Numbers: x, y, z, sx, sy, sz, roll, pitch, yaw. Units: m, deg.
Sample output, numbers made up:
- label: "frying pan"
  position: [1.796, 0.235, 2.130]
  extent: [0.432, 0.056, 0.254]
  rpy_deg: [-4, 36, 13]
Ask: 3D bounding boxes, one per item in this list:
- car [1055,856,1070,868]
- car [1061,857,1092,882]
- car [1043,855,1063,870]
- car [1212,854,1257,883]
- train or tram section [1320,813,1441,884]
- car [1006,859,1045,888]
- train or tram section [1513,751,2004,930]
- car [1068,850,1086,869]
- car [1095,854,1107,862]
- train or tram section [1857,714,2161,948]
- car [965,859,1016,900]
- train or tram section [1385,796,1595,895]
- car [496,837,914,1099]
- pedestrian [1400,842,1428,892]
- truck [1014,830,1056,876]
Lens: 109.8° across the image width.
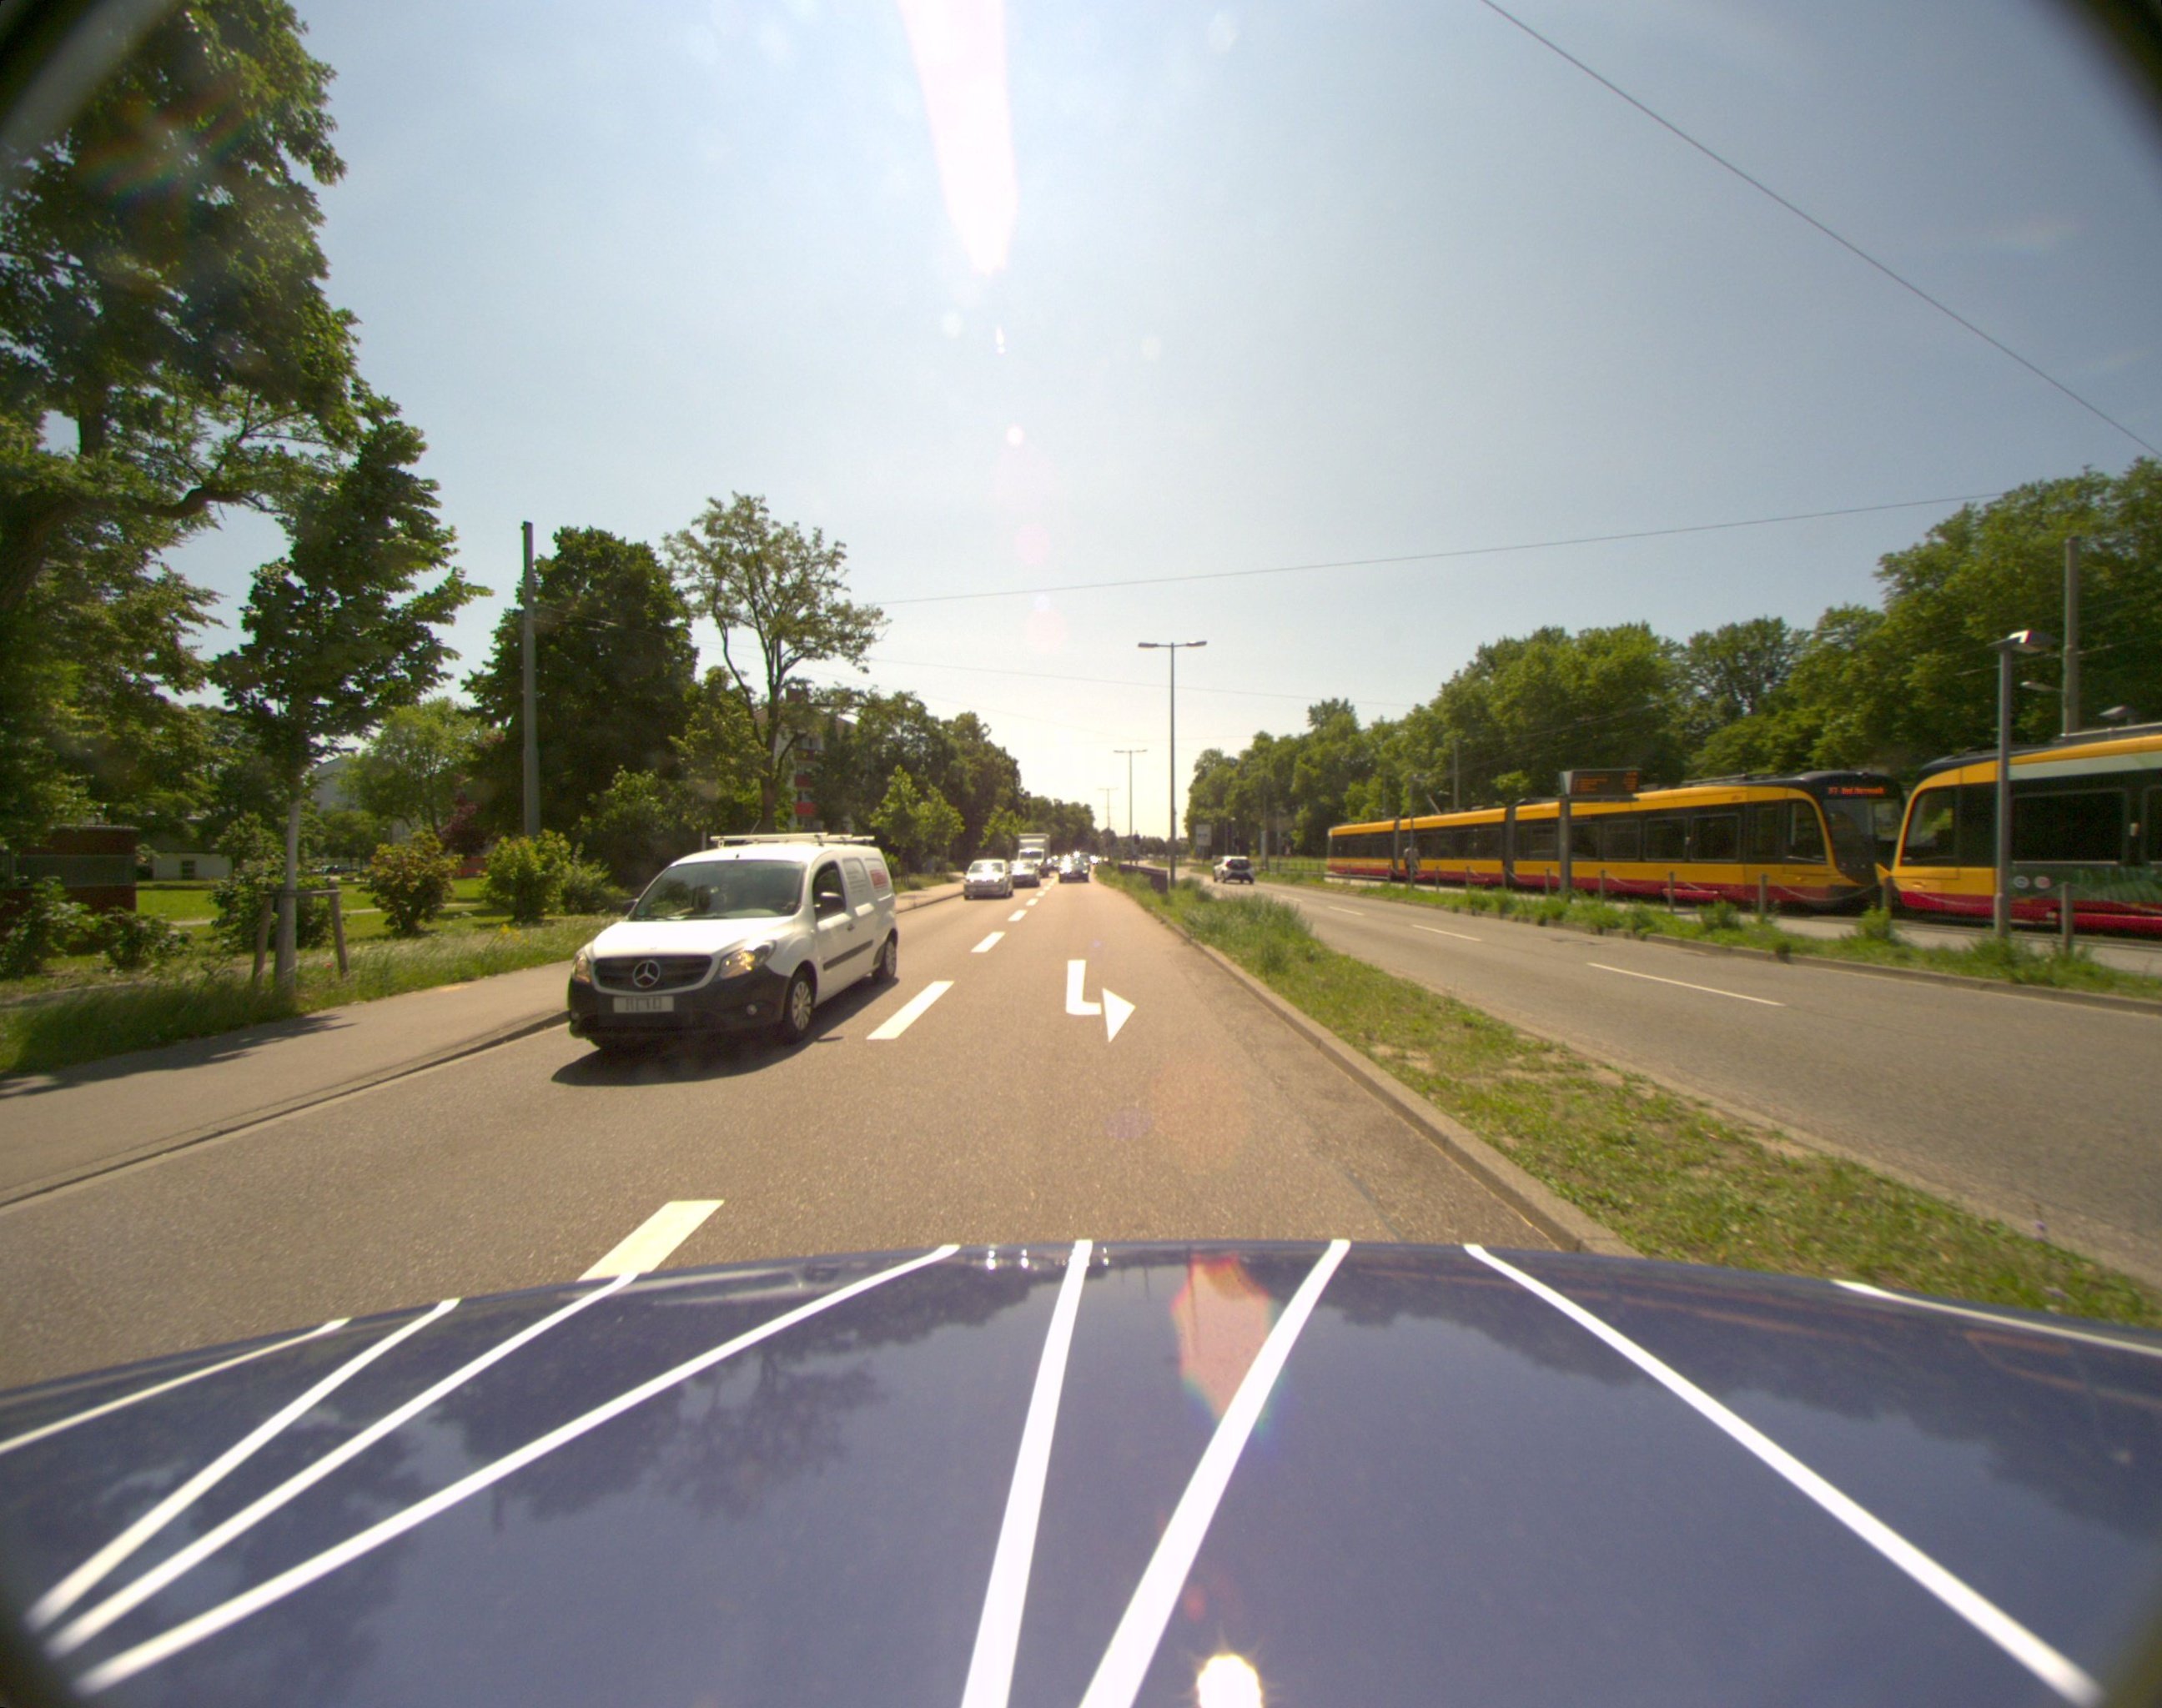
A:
- label: "car"
  position: [-2.226, 0.966, 92.190]
  extent: [1.618, 1.373, 4.115]
  rpy_deg: [-2, 0, 2]
- label: "car"
  position: [-0.254, 0.892, 45.643]
  extent: [1.746, 1.382, 3.887]
  rpy_deg: [-1, 0, 1]
- label: "car"
  position: [-2.831, 0.844, 77.727]
  extent: [1.746, 1.382, 3.887]
  rpy_deg: [-1, 0, 1]
- label: "car"
  position: [8.633, 0.775, 42.879]
  extent: [1.774, 1.496, 3.719]
  rpy_deg: [-1, 0, 0]
- label: "train or tram section"
  position: [18.411, -0.295, 47.851]
  extent: [2.957, 3.833, 11.540]
  rpy_deg: [-2, 0, 0]
- label: "car"
  position: [-2.888, 0.988, 40.374]
  extent: [1.618, 1.373, 4.115]
  rpy_deg: [-2, 0, 2]
- label: "train or tram section"
  position: [18.332, -0.298, 22.959]
  extent: [3.051, 3.745, 13.261]
  rpy_deg: [-2, 0, 1]
- label: "car"
  position: [-0.357, 0.564, 78.374]
  extent: [1.746, 1.840, 3.887]
  rpy_deg: [-1, 0, 1]
- label: "car"
  position: [3.498, 0.657, 135.074]
  extent: [1.745, 1.382, 3.889]
  rpy_deg: [-1, 0, 6]
- label: "train or tram section"
  position: [18.272, -0.406, 9.272]
  extent: [3.052, 3.603, 13.895]
  rpy_deg: [-2, 0, -2]
- label: "car"
  position: [-3.500, 0.955, 29.867]
  extent: [1.626, 1.433, 3.498]
  rpy_deg: [-2, 0, -1]
- label: "train or tram section"
  position: [18.420, -0.335, 35.820]
  extent: [3.051, 3.719, 12.595]
  rpy_deg: [-2, 0, 0]
- label: "car"
  position: [-3.284, 0.825, 8.048]
  extent: [1.809, 1.845, 5.082]
  rpy_deg: [-2, 0, 0]
- label: "pedestrian"
  position: [12.385, 0.478, 28.244]
  extent: [0.633, 1.781, 0.776]
  rpy_deg: [-2, 1, -1]
- label: "truck"
  position: [-3.449, -0.101, 58.128]
  extent: [2.489, 3.277, 6.605]
  rpy_deg: [-1, 0, 2]
